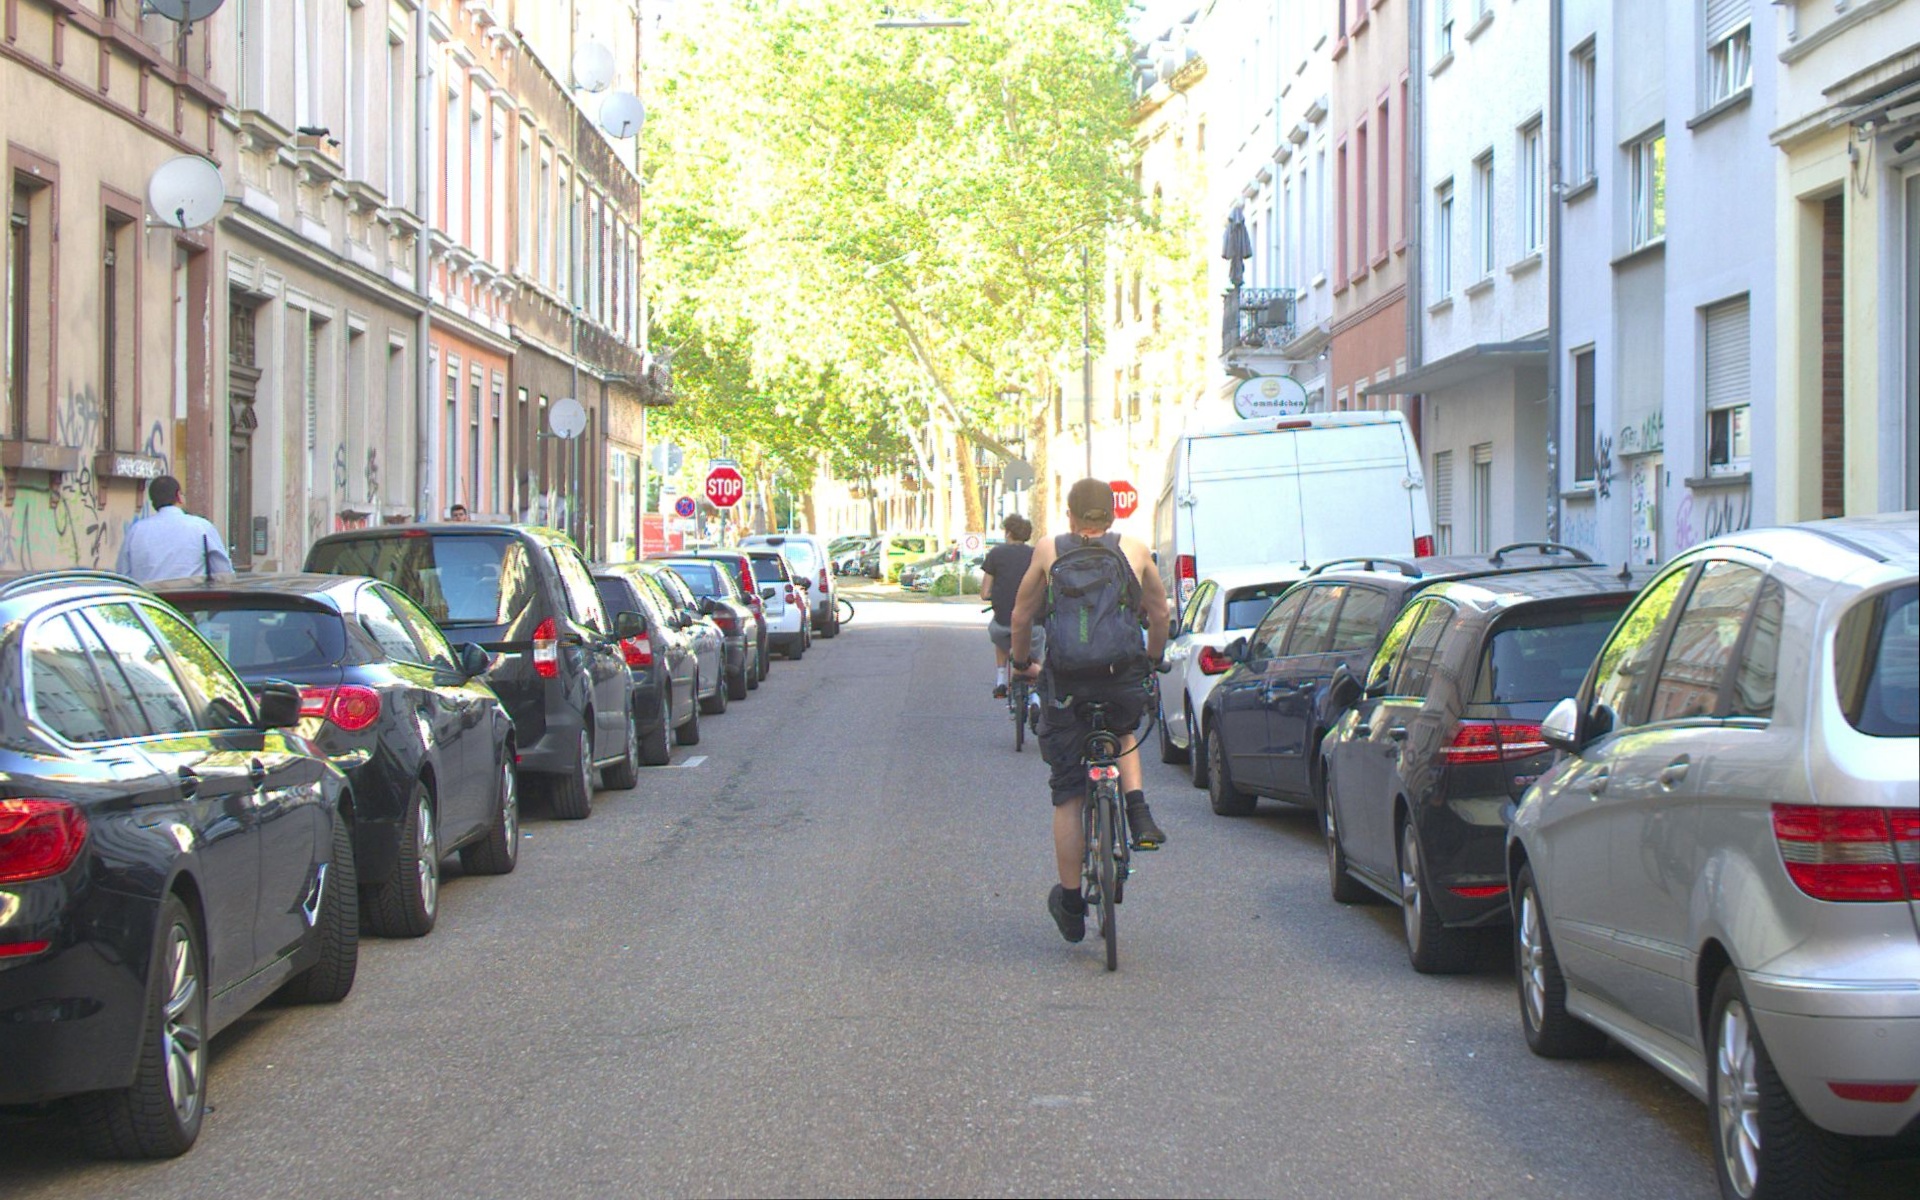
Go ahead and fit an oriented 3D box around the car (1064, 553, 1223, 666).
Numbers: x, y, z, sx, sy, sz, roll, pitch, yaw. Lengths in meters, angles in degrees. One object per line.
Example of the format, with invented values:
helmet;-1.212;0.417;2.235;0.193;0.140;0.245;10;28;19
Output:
car;2.276;0.084;43.426;1.657;1.334;4.000;-1;1;-2

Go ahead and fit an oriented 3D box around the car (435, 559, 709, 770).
car;-2.841;0.426;25.800;1.592;1.435;3.654;0;1;1

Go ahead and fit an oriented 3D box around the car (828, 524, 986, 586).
car;-1.551;-1.312;99.678;4.468;1.753;1.867;-1;1;-4

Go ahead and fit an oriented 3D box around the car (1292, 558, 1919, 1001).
car;2.442;0.590;13.913;1.746;1.480;4.243;0;1;0

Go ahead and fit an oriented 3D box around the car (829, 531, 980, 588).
car;-1.714;-1.232;104.804;4.468;1.690;1.867;-1;1;-4

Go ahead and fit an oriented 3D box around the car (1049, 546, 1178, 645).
car;2.370;-0.096;53.974;1.710;1.465;4.000;-1;1;-2

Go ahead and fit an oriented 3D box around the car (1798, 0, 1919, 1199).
car;2.544;0.260;2.583;2.175;2.417;6.310;-1;1;-1

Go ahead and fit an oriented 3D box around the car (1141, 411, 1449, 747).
car;2.709;-0.216;29.181;2.204;2.542;6.036;0;1;2

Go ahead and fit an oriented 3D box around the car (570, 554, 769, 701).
car;-2.967;0.241;35.836;1.706;1.409;4.302;0;1;0

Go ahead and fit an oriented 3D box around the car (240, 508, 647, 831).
car;-3.012;0.350;20.820;1.801;1.692;4.000;-2;1;0

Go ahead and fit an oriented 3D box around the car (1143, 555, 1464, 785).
car;2.286;0.419;23.749;1.725;1.424;3.833;-1;1;-1

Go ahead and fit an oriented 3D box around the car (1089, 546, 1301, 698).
car;2.380;0.185;35.720;1.731;1.465;4.022;-1;1;-3

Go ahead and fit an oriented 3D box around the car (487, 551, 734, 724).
car;-3.061;0.287;30.776;1.674;1.425;3.888;0;1;2

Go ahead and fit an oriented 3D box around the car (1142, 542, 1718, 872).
car;2.437;0.481;19.106;1.811;1.473;4.609;-3;2;-9

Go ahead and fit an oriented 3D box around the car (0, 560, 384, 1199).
car;-2.885;0.648;9.800;1.862;1.435;4.646;-1;2;-2

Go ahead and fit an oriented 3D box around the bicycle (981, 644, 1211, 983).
bicycle;0.478;0.754;12.958;0.740;1.097;2.042;2;1;-1

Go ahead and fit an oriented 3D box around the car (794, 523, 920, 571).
car;-3.730;-1.937;124.565;4.468;1.690;1.867;-1;1;-4

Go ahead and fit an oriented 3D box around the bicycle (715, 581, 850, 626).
bicycle;-3.612;0.065;69.945;2.715;0.889;0.619;-1;1;-2

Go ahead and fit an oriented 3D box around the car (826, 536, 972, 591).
car;-1.934;-1.157;108.308;4.468;1.690;1.867;-1;1;-4

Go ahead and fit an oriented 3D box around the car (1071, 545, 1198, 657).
car;2.427;-0.019;48.516;1.592;1.487;3.876;0;1;0

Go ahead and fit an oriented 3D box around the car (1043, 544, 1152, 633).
car;2.417;-0.229;61.081;1.652;1.525;3.575;-1;1;-2

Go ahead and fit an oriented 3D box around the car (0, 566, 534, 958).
car;-2.960;0.586;14.863;1.736;1.422;4.000;0;1;0

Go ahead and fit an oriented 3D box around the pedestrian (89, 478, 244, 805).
pedestrian;-4.532;0.227;19.671;0.651;1.811;0.754;2;1;0

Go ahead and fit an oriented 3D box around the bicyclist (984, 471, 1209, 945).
bicyclist;0.490;0.377;12.832;0.740;1.673;1.116;2;1;-1

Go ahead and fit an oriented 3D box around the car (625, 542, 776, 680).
car;-3.046;0.099;40.795;1.604;1.525;3.379;-1;1;-2

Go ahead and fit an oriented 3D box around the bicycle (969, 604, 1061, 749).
bicycle;0.409;0.569;26.457;0.664;1.034;1.959;0;1;0

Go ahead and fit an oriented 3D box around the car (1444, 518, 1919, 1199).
car;2.486;0.593;9.161;1.693;1.602;4.375;-2;1;0

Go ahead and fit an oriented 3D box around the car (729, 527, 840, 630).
car;-3.047;-0.398;60.368;1.787;1.731;3.876;-1;1;-1

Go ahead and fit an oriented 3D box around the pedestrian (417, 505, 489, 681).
pedestrian;-5.447;-0.080;36.950;0.610;1.851;0.754;2;1;-1

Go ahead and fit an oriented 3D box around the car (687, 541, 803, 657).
car;-3.004;-0.048;48.169;1.544;1.545;3.466;-1;1;-3

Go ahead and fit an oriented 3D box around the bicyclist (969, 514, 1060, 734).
bicyclist;0.413;0.172;26.337;0.669;1.653;0.877;0;1;0

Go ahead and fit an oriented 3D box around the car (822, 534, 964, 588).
car;-2.175;-1.269;111.232;4.468;1.690;1.867;-1;1;-4

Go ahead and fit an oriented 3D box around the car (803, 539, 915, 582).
car;-4.138;-1.621;140.505;4.468;1.690;1.867;-1;1;-4
